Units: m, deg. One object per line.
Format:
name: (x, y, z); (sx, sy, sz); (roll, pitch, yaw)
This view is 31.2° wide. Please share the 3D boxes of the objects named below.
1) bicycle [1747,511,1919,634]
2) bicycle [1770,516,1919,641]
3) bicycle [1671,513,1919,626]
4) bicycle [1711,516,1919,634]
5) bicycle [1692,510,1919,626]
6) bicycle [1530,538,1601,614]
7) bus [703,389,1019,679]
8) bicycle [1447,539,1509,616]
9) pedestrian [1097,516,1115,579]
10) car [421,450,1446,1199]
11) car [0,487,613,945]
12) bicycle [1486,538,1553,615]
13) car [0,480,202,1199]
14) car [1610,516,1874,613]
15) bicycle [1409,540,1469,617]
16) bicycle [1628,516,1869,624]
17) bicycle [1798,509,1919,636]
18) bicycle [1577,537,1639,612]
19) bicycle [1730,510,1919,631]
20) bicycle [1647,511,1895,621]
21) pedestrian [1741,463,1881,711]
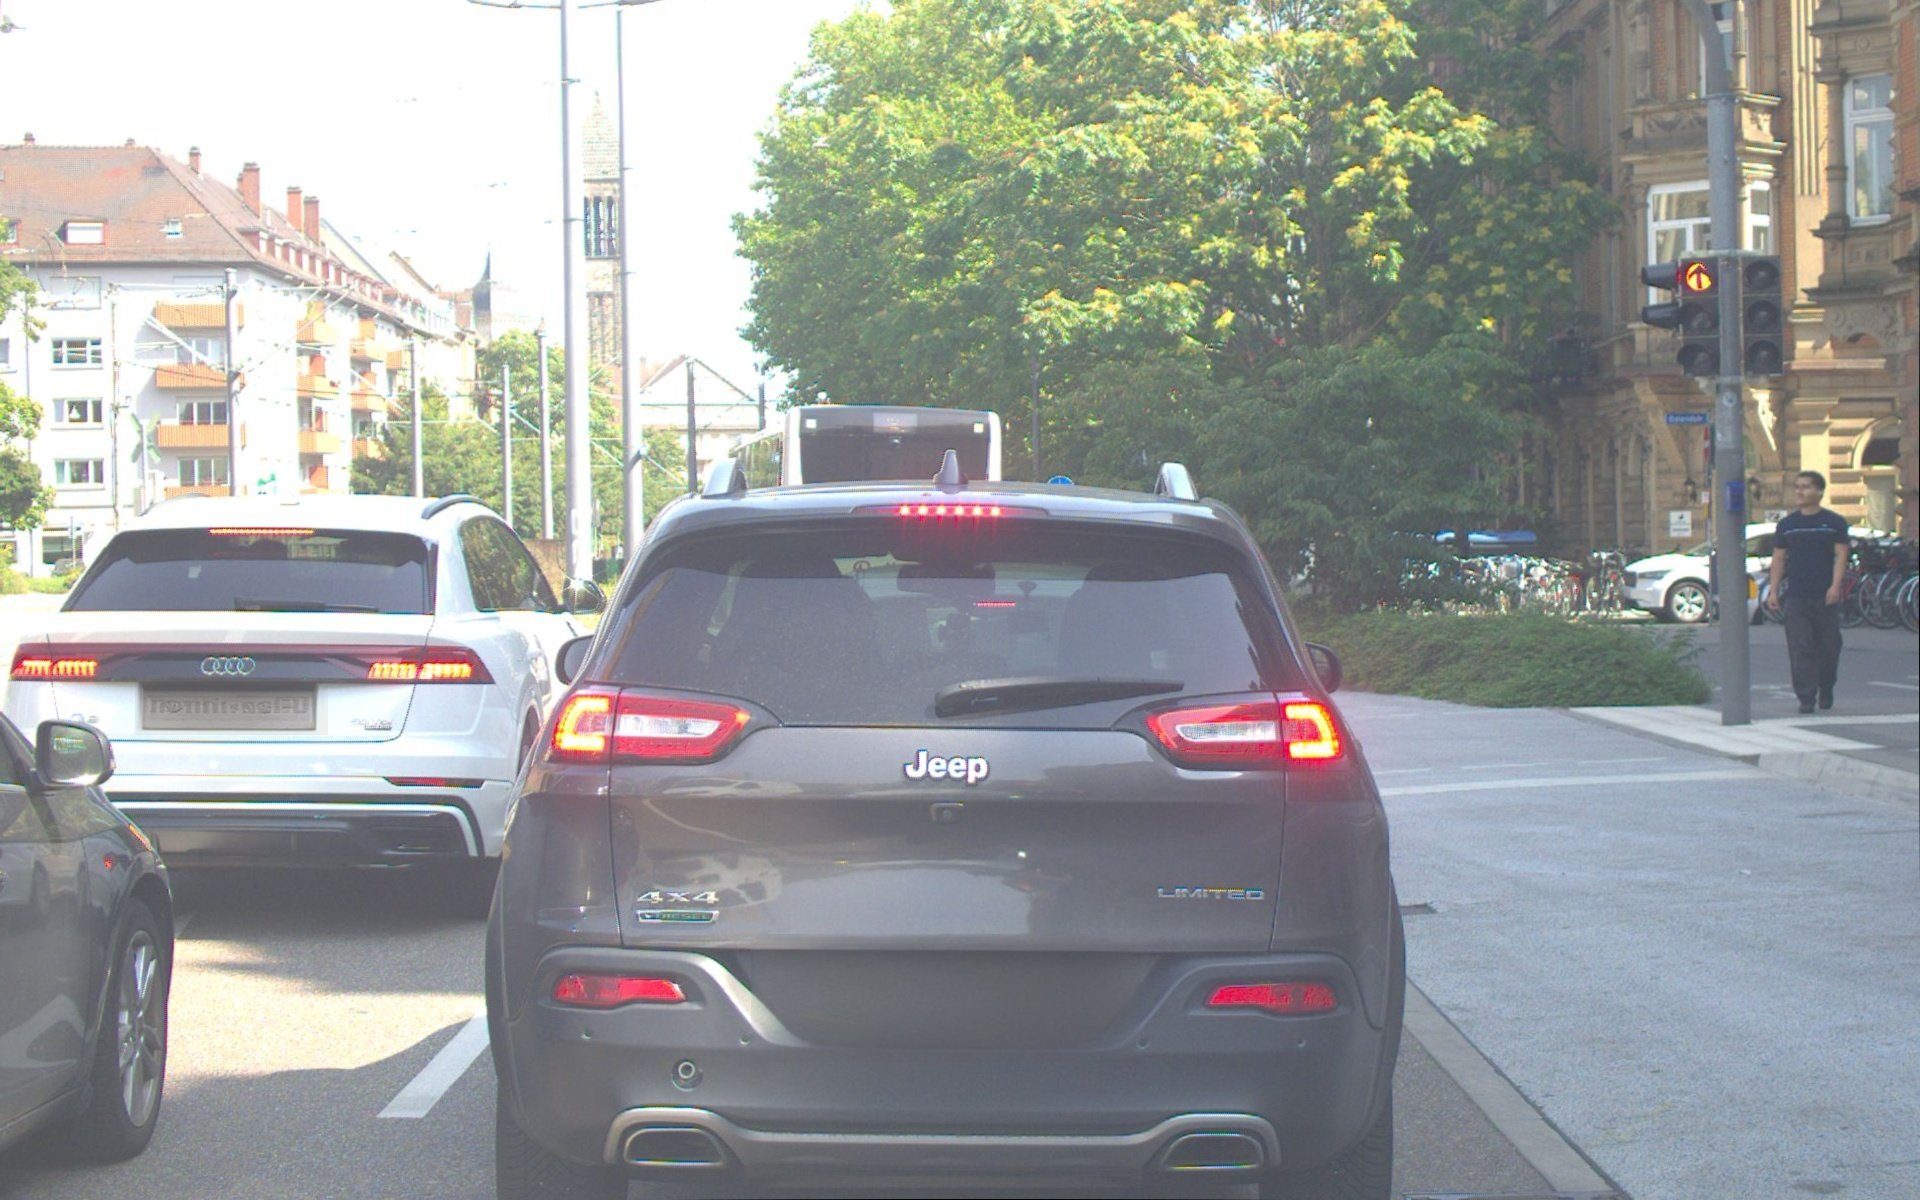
bicycle: (10.726, -0.336, 39.823); (2.993, 1.366, 0.871); (-1, 1, -1)
bicycle: (10.777, -0.267, 38.911); (2.993, 1.366, 0.871); (-1, 1, -1)
bicycle: (10.680, -0.393, 43.819); (3.003, 1.368, 0.947); (-1, 1, -1)
bicycle: (10.731, -0.313, 41.715); (3.003, 1.368, 0.947); (-1, 0, -1)
bicycle: (10.730, -0.409, 42.808); (3.003, 1.368, 0.947); (-1, 1, -1)
bicycle: (10.288, -0.427, 58.468); (0.763, 1.249, 3.014); (-1, 1, 2)
bus: (-1.545, -0.796, 44.496); (2.743, 3.096, 11.958); (-3, 1, -7)
bicycle: (8.799, -0.400, 58.456); (0.649, 1.249, 3.014); (-1, 1, 2)
pedestrian: (4.688, -1.683, 110.414); (0.528, 2.007, 0.532); (-1, 1, -2)
car: (-0.029, 0.515, 8.340); (1.832, 1.646, 4.308); (0, 1, 1)
car: (-2.616, 0.370, 14.524); (1.902, 1.646, 4.309); (0, 1, 0)
bicycle: (9.498, -0.411, 58.454); (0.732, 1.249, 3.014); (-1, 1, 2)
car: (-2.815, 0.561, 6.715); (1.747, 1.609, 4.309); (0, 1, 0)
car: (13.054, -0.607, 57.482); (3.931, 1.515, 1.683); (-1, 1, -7)
bicycle: (8.137, -0.384, 58.481); (0.649, 1.249, 3.014); (-1, 1, 2)
bicycle: (10.577, -0.411, 46.178); (3.003, 1.368, 0.947); (-1, 1, -1)
bicycle: (10.879, -0.329, 38.004); (2.993, 1.366, 0.871); (-1, 1, -1)
bicycle: (11.087, -0.451, 58.902); (0.658, 1.245, 2.412); (-1, 1, 2)
bicycle: (10.740, -0.364, 40.770); (2.993, 1.366, 0.871); (-1, 1, -1)
bicycle: (10.627, -0.447, 45.136); (3.003, 1.368, 0.947); (-1, 1, -1)
pedestrian: (6.147, -0.096, 24.813); (0.899, 1.735, 0.768); (-2, 1, 15)
